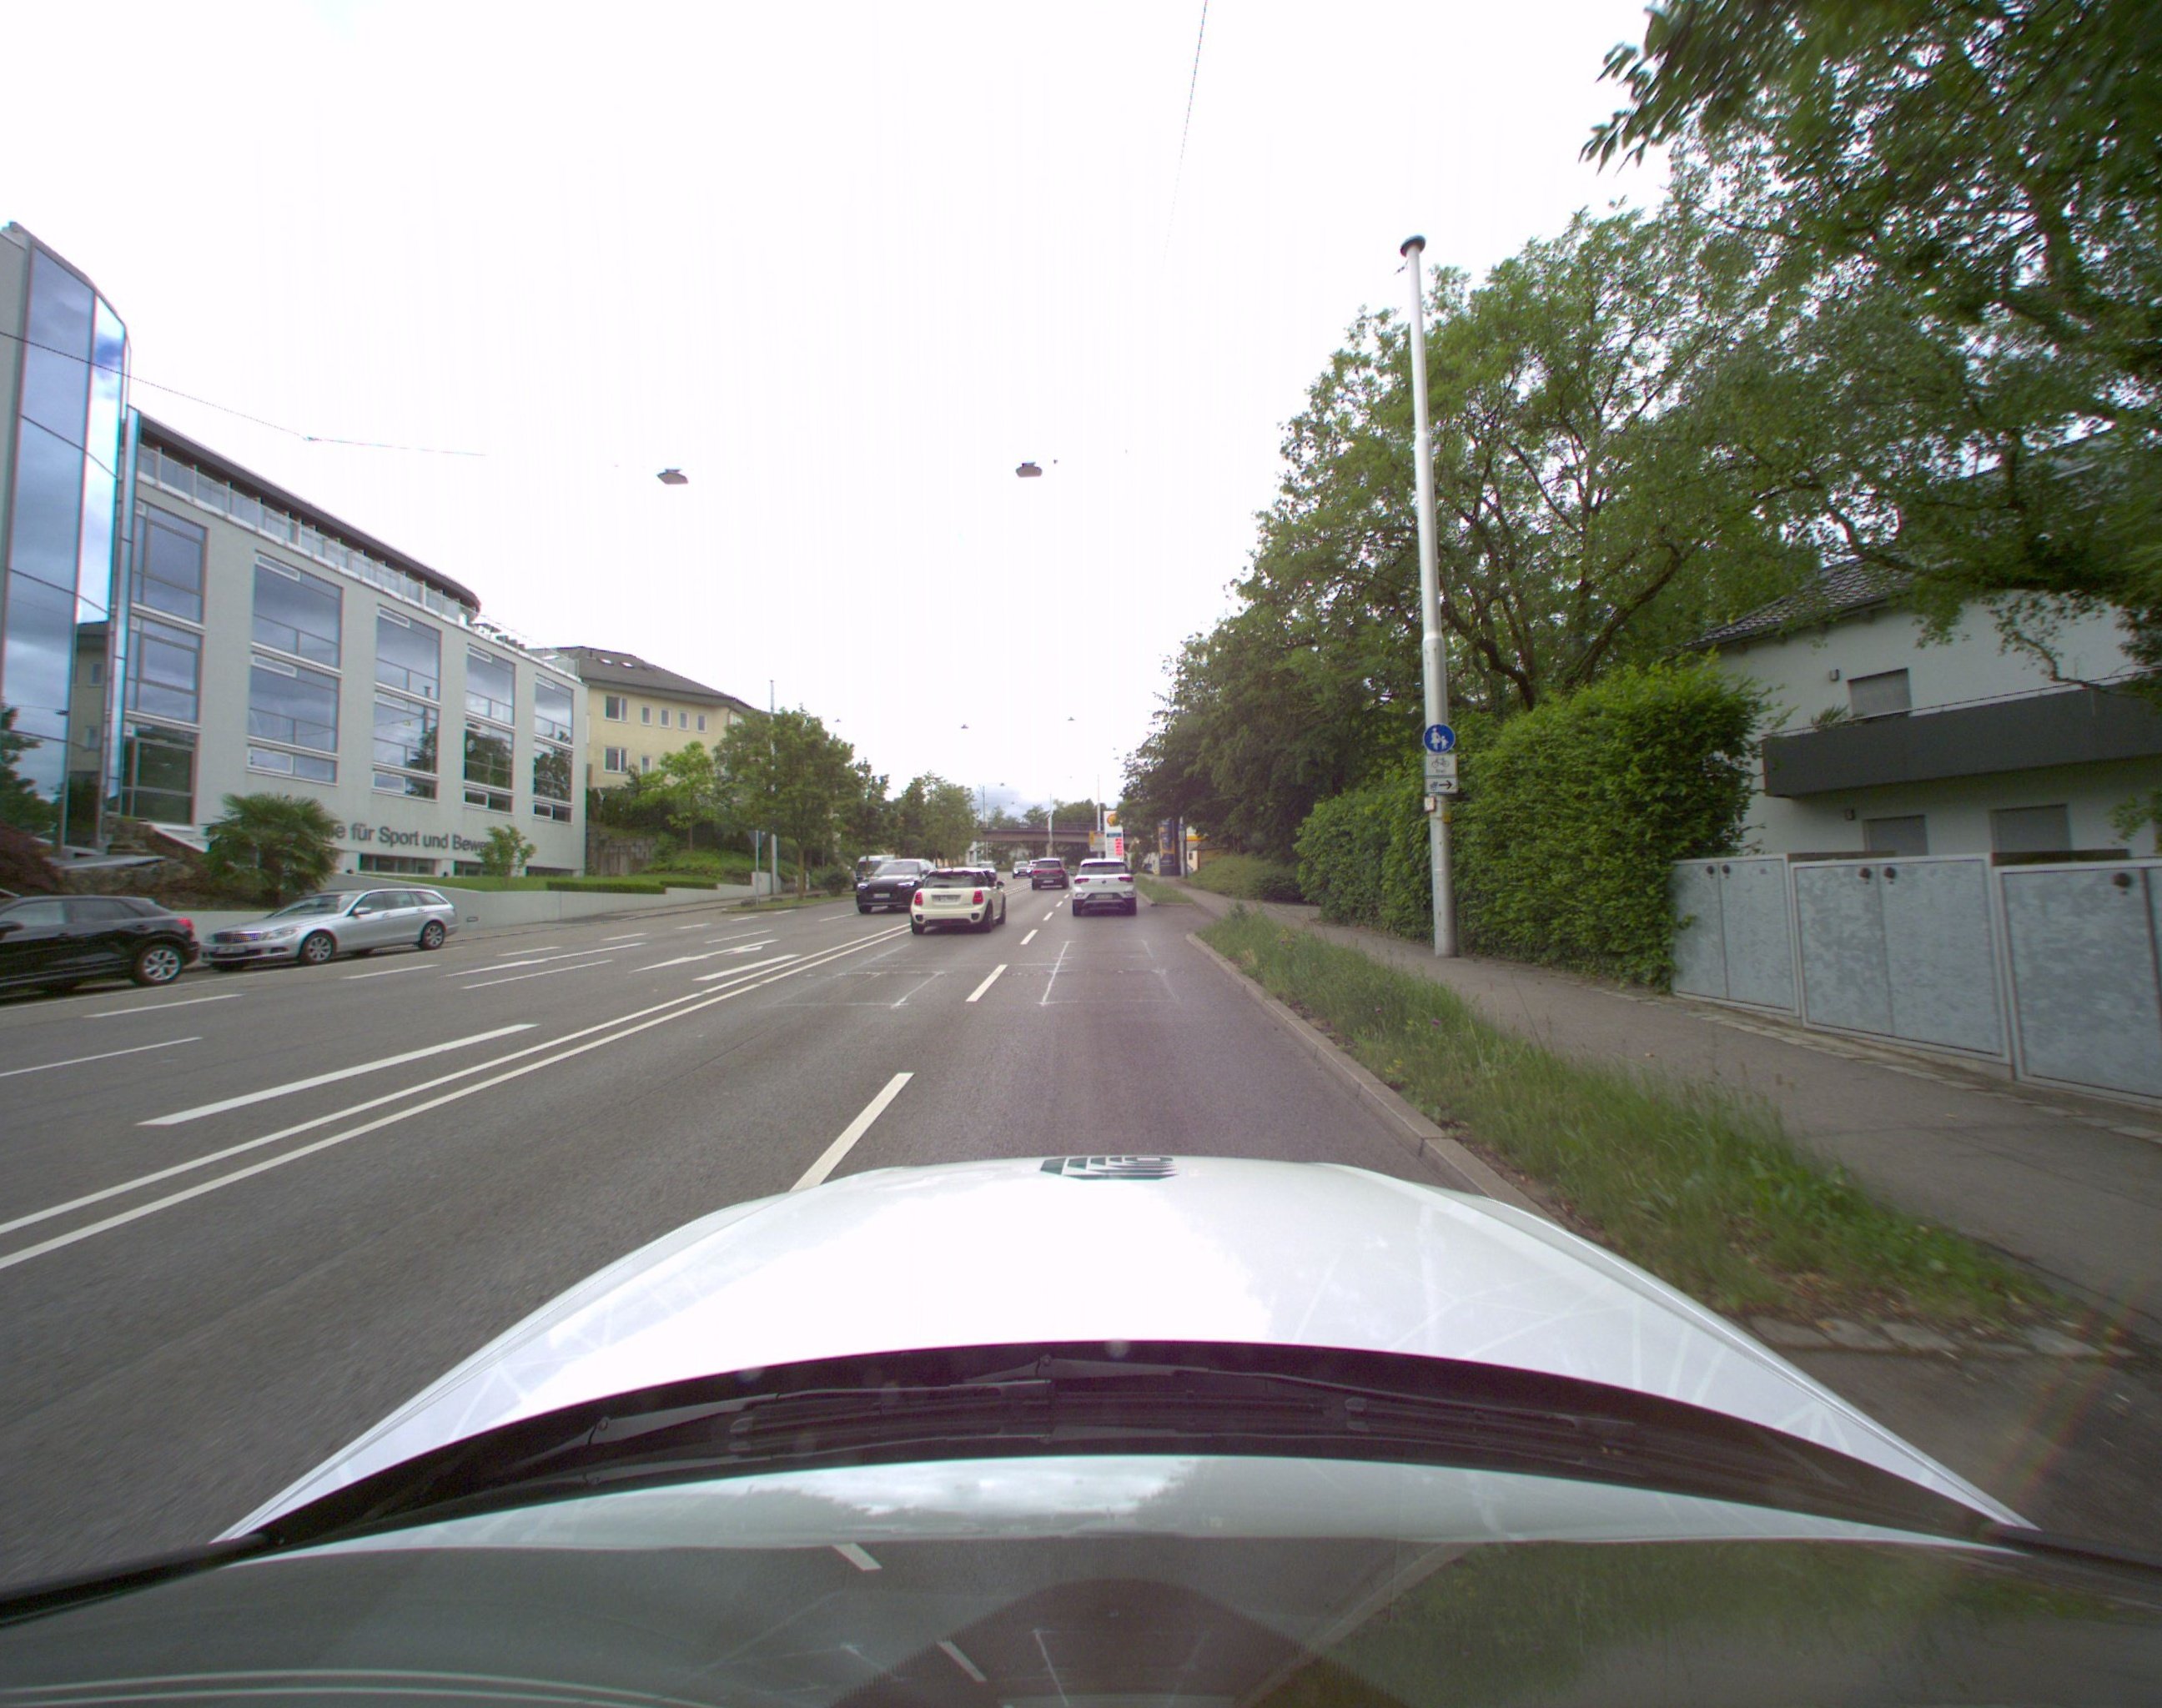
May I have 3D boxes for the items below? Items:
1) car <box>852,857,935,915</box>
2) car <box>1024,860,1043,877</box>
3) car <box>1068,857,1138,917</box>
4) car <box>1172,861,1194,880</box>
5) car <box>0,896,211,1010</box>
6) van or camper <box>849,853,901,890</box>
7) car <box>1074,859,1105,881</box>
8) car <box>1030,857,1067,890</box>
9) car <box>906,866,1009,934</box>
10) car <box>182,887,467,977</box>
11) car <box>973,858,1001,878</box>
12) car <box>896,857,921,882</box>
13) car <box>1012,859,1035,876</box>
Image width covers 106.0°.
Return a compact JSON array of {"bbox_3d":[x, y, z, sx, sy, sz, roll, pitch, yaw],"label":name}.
[{"bbox_3d":[-6.195,1.001,27.447,1.843,1.703,4.758,-2,-1,-3],"label":"car"},{"bbox_3d":[-5.680,1.762,96.989,1.896,1.937,3.990,-2,-1,-7],"label":"car"},{"bbox_3d":[0.622,0.879,23.088,1.790,1.519,3.457,-1,-1,1],"label":"car"},{"bbox_3d":[9.289,1.498,74.635,1.728,1.486,3.880,-3,-4,3],"label":"car"},{"bbox_3d":[-15.389,1.422,11.512,1.667,1.428,4.091,-2,-1,2],"label":"car"},{"bbox_3d":[-15.013,1.251,59.636,1.985,2.473,5.714,-3,-1,3],"label":"van or camper"},{"bbox_3d":[0.546,1.040,53.802,1.673,1.409,3.450,-1,-1,-5],"label":"car"},{"bbox_3d":[-1.706,1.029,43.522,1.716,1.640,3.457,-1,-1,1],"label":"car"},{"bbox_3d":[-2.728,0.987,18.702,1.716,1.376,3.457,-1,-1,1],"label":"car"},{"bbox_3d":[-15.369,1.505,16.955,1.667,1.428,4.419,-2,-1,2],"label":"car"},{"bbox_3d":[-8.396,1.214,72.832,1.757,1.708,4.872,-1,0,2],"label":"car"},{"bbox_3d":[-17.317,1.574,81.935,2.269,2.273,6.302,-2,-1,-11],"label":"car"},{"bbox_3d":[-5.504,1.293,78.620,1.757,1.592,4.367,-1,0,2],"label":"car"}]
